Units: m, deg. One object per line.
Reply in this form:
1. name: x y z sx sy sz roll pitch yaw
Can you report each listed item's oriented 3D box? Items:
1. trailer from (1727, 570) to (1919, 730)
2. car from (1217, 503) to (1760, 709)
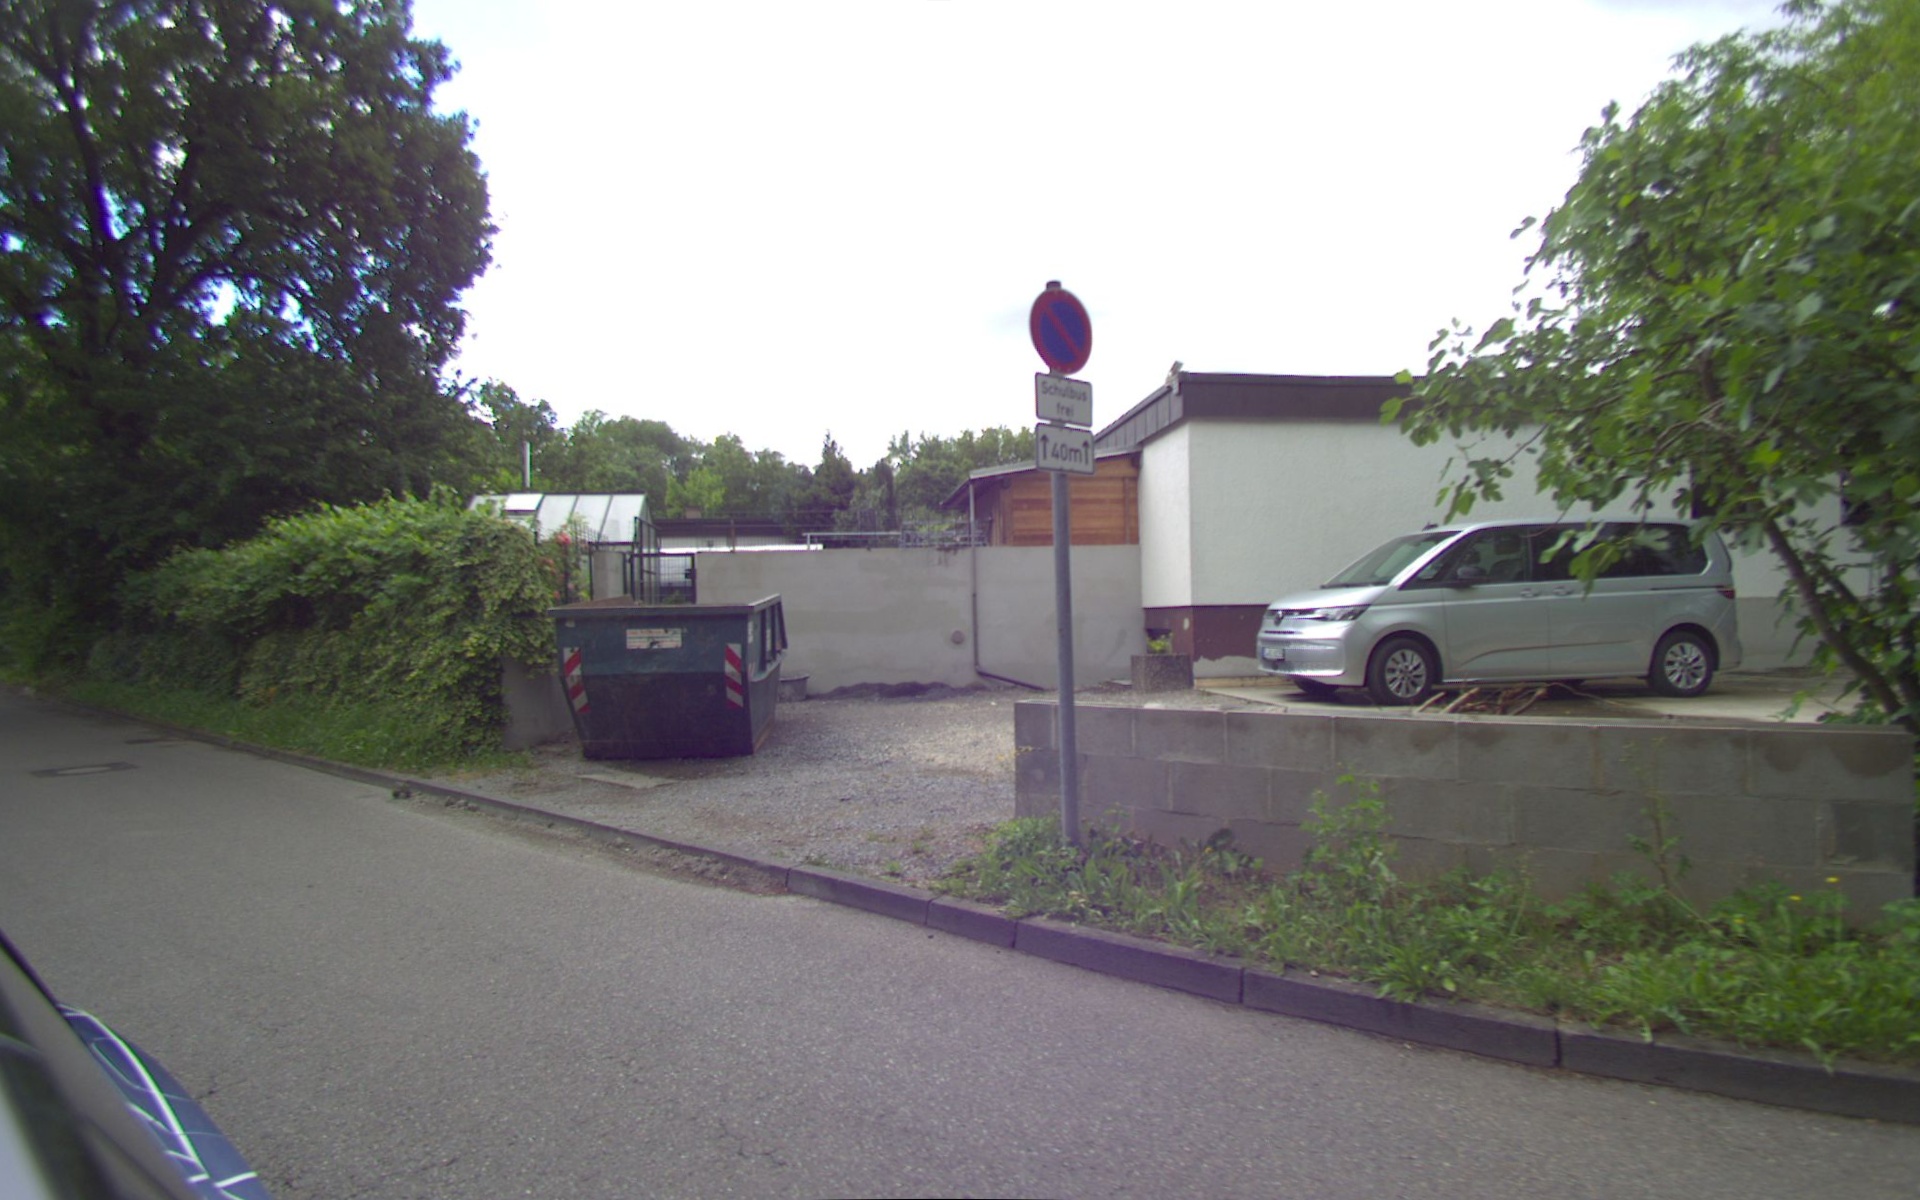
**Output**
1. trailer: 8.215 0.285 7.294 3.938 1.054 2.003 -1 -1 -6
2. car: 5.539 0.037 10.942 4.850 1.819 2.034 -2 0 -9
